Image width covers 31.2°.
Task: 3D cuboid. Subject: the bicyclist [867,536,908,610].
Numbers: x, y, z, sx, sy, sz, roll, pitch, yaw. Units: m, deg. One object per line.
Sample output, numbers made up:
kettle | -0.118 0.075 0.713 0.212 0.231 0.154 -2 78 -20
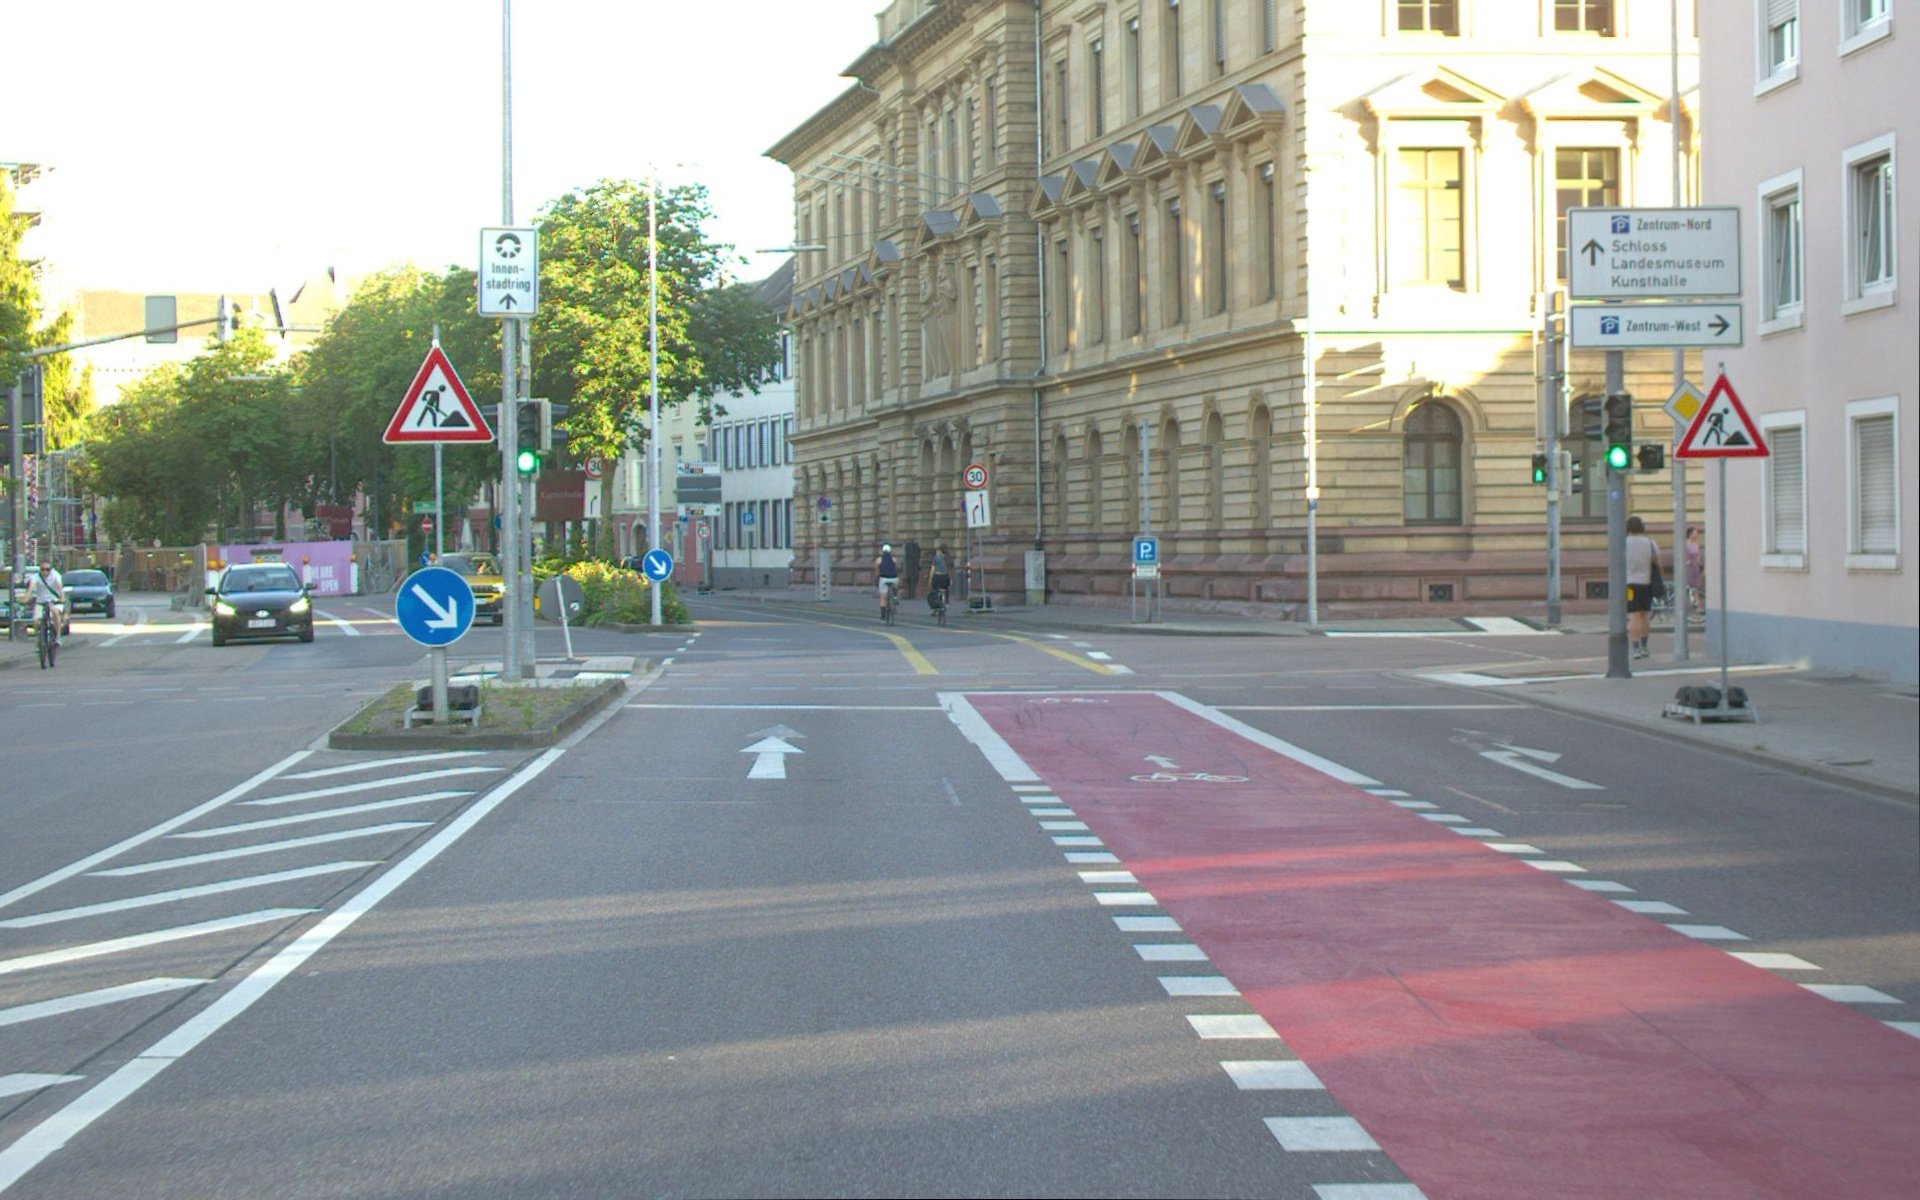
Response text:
bicyclist | -1.543 -0.569 73.146 0.668 1.560 0.699 2 0 -18

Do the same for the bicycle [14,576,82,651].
bicycle | -13.893 0.192 52.412 0.753 1.086 1.933 -3 1 -9

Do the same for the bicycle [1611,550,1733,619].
bicycle | 13.139 -0.291 63.461 2.050 1.203 0.862 -1 3 -4

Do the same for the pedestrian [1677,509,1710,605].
pedestrian | 14.198 -0.840 66.564 0.448 1.851 0.427 -1 1 -44

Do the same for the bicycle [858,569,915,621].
bicycle | -1.565 -0.111 73.168 0.669 1.067 1.902 1 0 -18

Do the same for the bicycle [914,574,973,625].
bicycle | -0.363 -0.018 73.197 0.652 1.067 2.259 2 0 -16

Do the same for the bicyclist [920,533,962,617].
bicyclist | -0.411 -0.539 73.387 0.649 1.754 0.864 1 0 -16

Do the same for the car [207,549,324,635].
car | -12.738 -0.174 63.221 1.823 1.503 4.428 -1 1 -8

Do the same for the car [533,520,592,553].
car | -19.321 -3.079 166.925 1.812 1.554 3.866 0 0 -23

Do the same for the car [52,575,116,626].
car | -24.725 0.006 97.089 1.679 1.346 3.888 -2 1 -14

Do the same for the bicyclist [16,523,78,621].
bicyclist | -13.928 -0.434 52.459 0.747 1.455 0.937 -2 1 -8

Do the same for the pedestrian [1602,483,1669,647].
pedestrian | 8.374 -0.433 42.591 0.785 2.007 0.994 0 1 13

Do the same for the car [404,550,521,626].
car | -10.564 -0.274 73.235 1.845 1.542 4.119 -1 1 1
